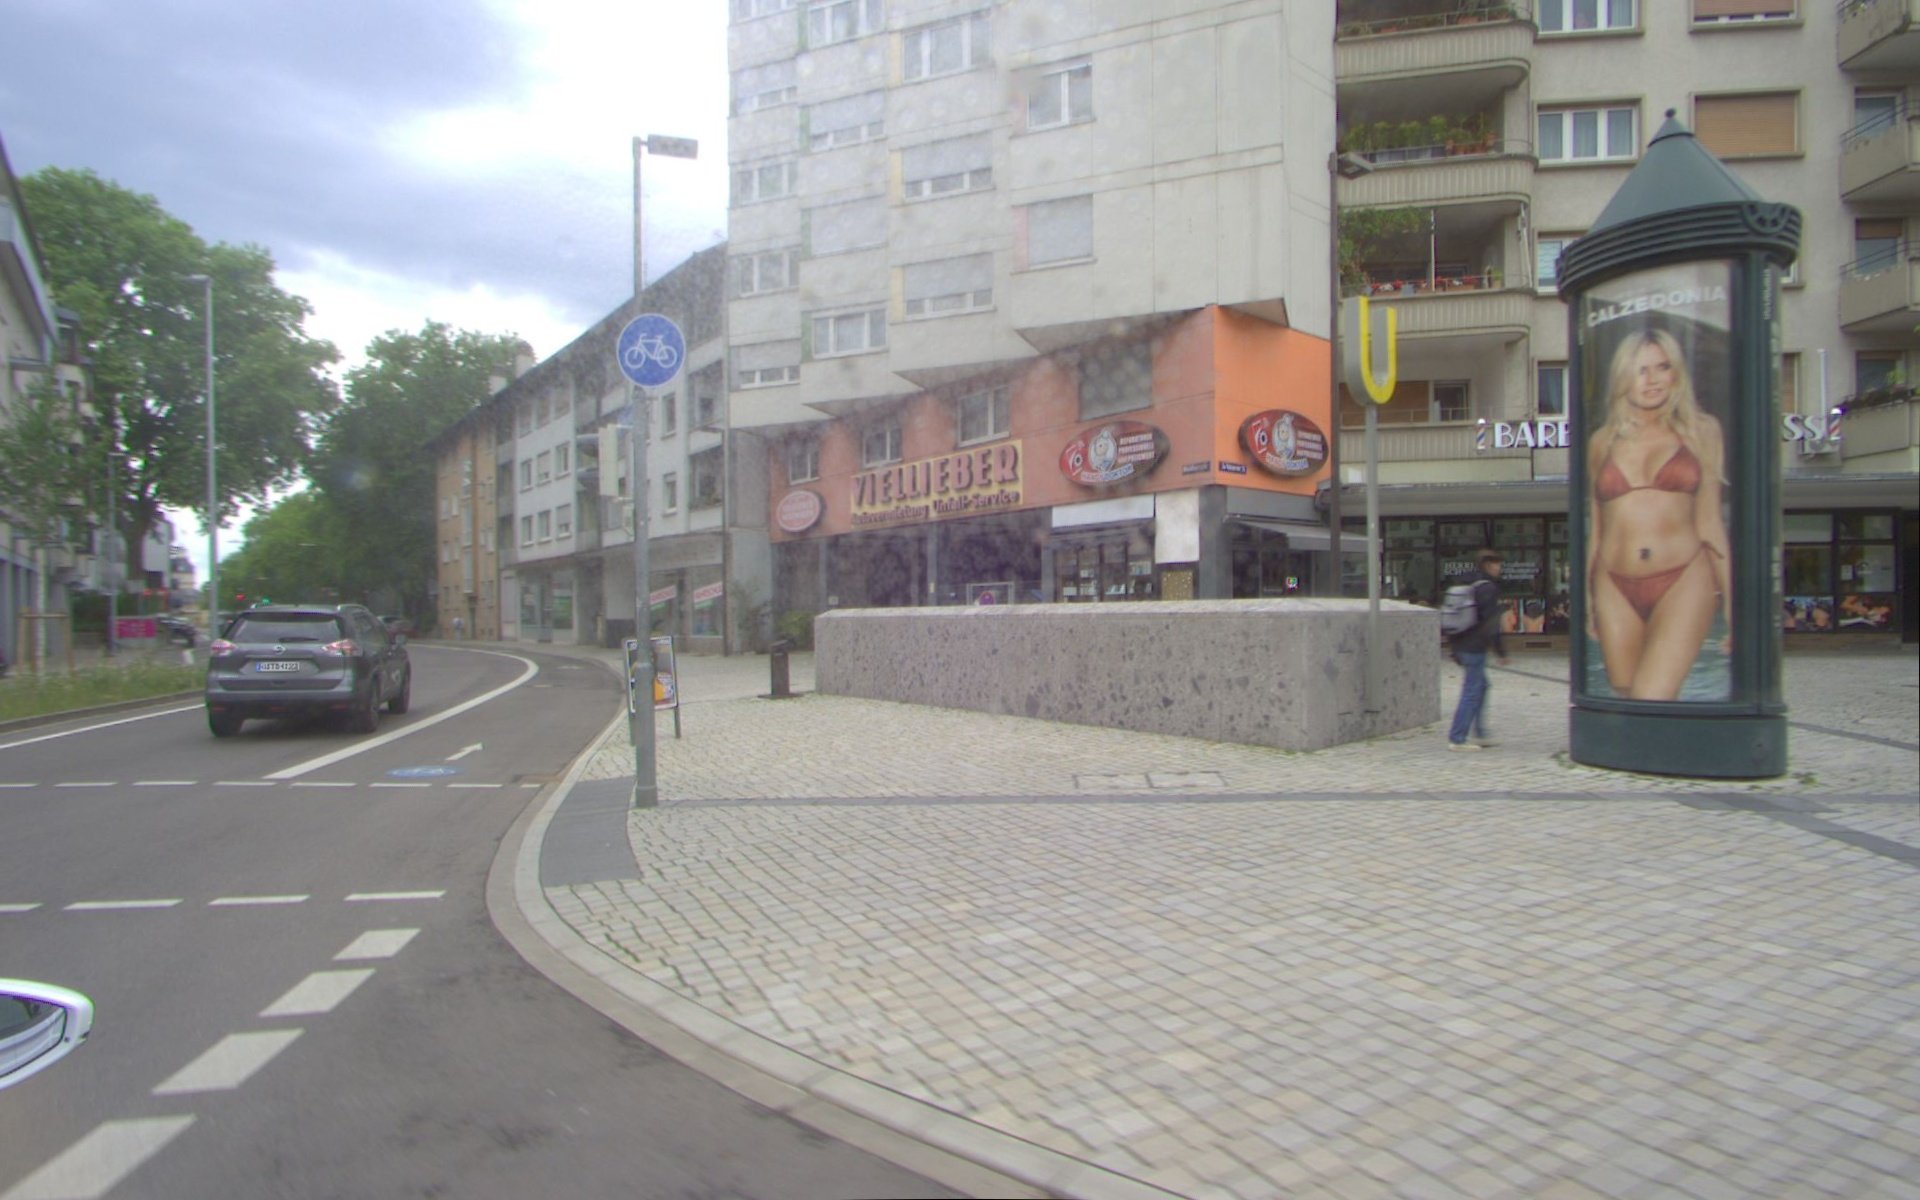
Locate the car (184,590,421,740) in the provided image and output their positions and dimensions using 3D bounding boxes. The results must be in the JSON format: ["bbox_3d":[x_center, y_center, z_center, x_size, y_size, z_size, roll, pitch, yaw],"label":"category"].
[{"bbox_3d":[-9.160,0.823,14.403,1.838,1.798,4.555,1,-1,-20],"label":"car"}]

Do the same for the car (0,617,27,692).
[{"bbox_3d":[-20.165,1.099,18.334,1.714,1.501,4.566,-1,0,4],"label":"car"}]

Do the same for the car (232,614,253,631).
[{"bbox_3d":[-80.078,2.470,111.762,1.847,1.798,3.954,1,-1,-36],"label":"car"}]

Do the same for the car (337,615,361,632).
[{"bbox_3d":[-65.069,2.494,106.666,1.847,1.798,3.954,1,-1,-36],"label":"car"}]

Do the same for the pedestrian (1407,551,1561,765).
[{"bbox_3d":[4.860,0.512,9.368,1.132,1.888,0.804,-1,1,16],"label":"pedestrian"}]

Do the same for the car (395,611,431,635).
[{"bbox_3d":[-41.612,1.749,76.152,1.847,1.798,3.954,1,-1,-36],"label":"car"}]

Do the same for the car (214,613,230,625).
[{"bbox_3d":[-108.555,2.771,147.320,1.847,1.798,3.954,1,-1,-36],"label":"car"}]

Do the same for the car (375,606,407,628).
[{"bbox_3d":[-46.564,1.384,81.933,1.847,1.798,3.954,1,-1,-36],"label":"car"}]
